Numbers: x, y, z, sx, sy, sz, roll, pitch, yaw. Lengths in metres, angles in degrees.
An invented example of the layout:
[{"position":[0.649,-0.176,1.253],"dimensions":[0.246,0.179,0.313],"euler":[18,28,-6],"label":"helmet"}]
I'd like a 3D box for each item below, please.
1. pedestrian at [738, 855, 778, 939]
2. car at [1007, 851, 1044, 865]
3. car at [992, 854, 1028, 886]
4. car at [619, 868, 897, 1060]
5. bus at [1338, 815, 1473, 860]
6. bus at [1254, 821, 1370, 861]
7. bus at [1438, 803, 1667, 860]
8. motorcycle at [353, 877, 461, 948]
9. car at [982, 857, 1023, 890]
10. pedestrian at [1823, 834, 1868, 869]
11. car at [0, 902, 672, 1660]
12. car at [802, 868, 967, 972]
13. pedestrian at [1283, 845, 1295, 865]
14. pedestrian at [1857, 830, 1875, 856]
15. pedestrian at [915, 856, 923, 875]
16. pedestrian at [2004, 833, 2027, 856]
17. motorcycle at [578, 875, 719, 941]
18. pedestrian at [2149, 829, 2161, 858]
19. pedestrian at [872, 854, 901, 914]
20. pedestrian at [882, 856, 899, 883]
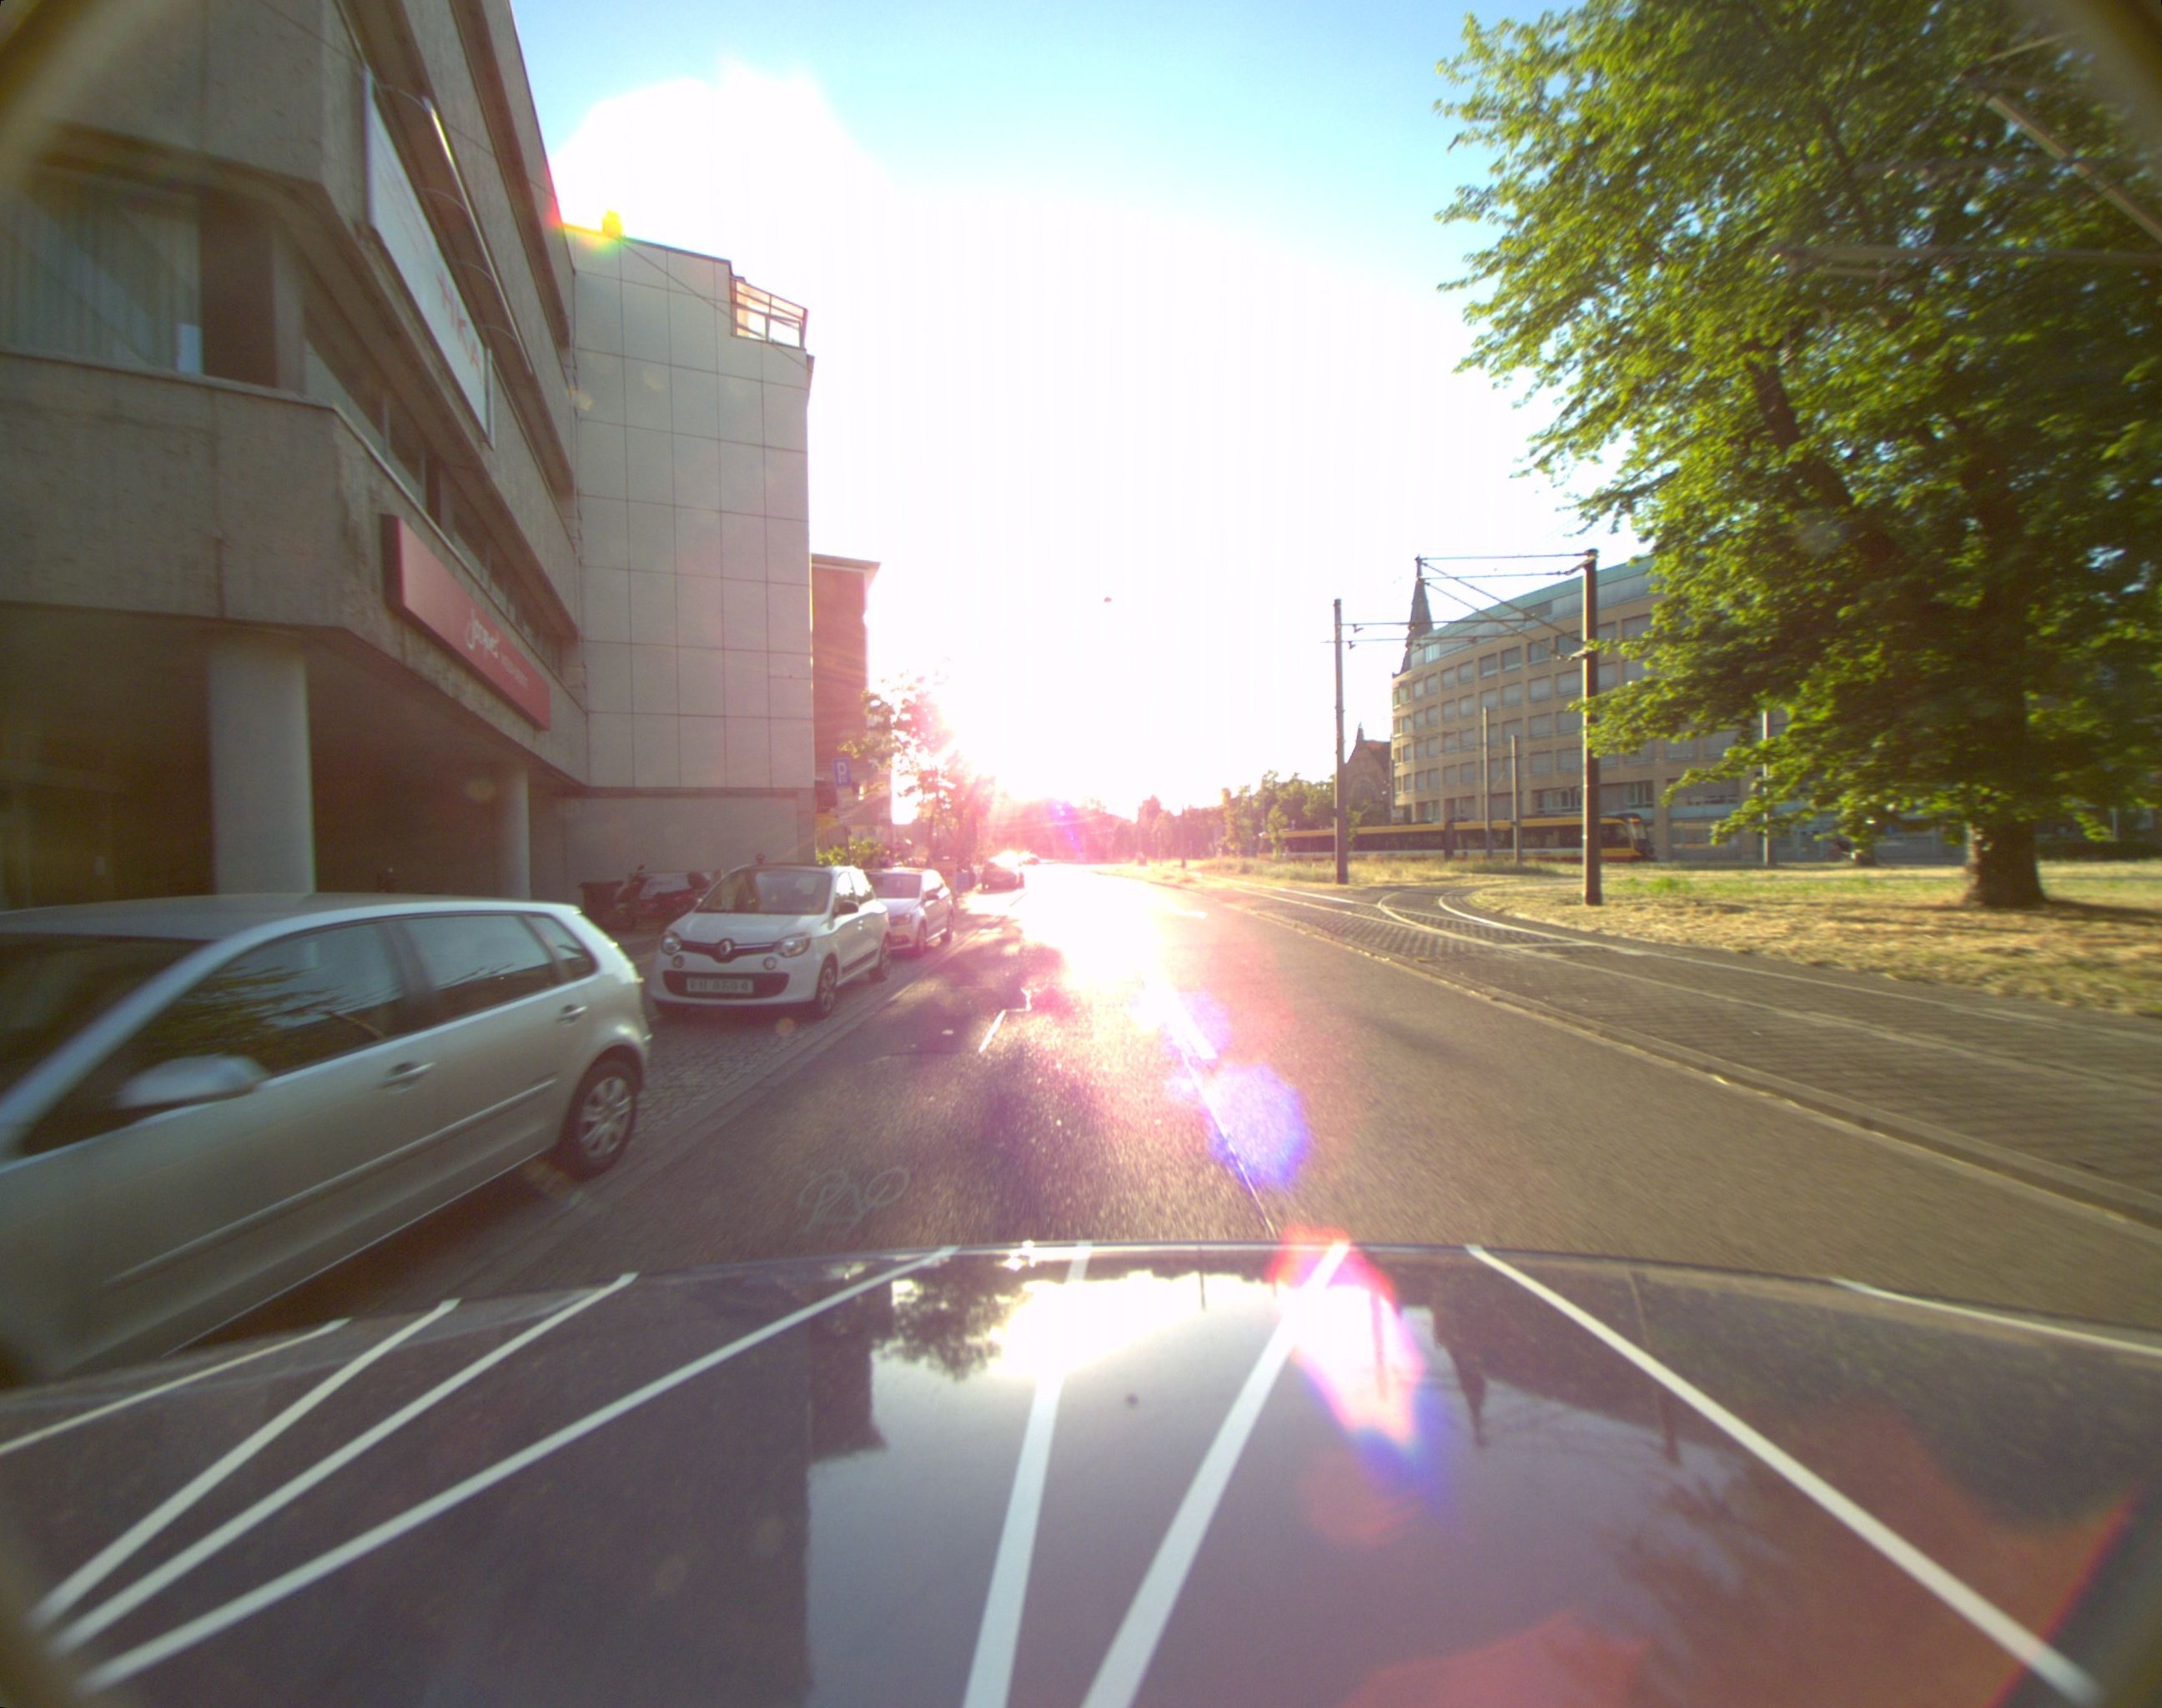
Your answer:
[{"position":[-6.531,0.848,15.373],"dimensions":[0.641,1.618,0.855],"euler":[-3,1,-23],"label":"pedestrian"},{"position":[-6.793,0.445,92.823],"dimensions":[3.993,1.534,2.002],"euler":[-2,1,12],"label":"car"},{"position":[-4.067,0.867,44.069],"dimensions":[1.809,1.660,4.811],"euler":[-3,0,-3],"label":"car"},{"position":[-3.340,1.022,8.658],"dimensions":[1.589,1.581,3.667],"euler":[-3,0,-1],"label":"car"},{"position":[27.147,-1.253,64.471],"dimensions":[3.765,3.312,10.716],"euler":[-3,0,-24],"label":"bus"},{"position":[22.380,-1.169,74.935],"dimensions":[3.765,3.435,12.108],"euler":[-3,0,-25],"label":"bus"},{"position":[32.339,-1.378,53.381],"dimensions":[3.765,3.343,13.685],"euler":[-3,0,-27],"label":"bus"},{"position":[-12.999,1.110,14.666],"dimensions":[1.793,1.285,0.670],"euler":[-1,0,15],"label":"motorcycle"},{"position":[-3.953,0.950,38.831],"dimensions":[1.655,1.525,4.066],"euler":[-2,0,-1],"label":"car"},{"position":[46.961,-0.149,46.680],"dimensions":[1.060,2.082,1.631],"euler":[-3,1,-23],"label":"pedestrian"},{"position":[-3.266,1.078,2.436],"dimensions":[1.645,1.519,4.000],"euler":[-2,0,1],"label":"car"},{"position":[-3.317,1.049,13.677],"dimensions":[1.789,1.448,4.000],"euler":[-1,1,2],"label":"car"},{"position":[15.682,0.078,57.270],"dimensions":[0.672,1.450,0.699],"euler":[-3,1,-4],"label":"pedestrian"},{"position":[51.755,-0.733,50.072],"dimensions":[0.532,1.683,0.617],"euler":[-3,1,-17],"label":"pedestrian"},{"position":[-14.417,1.026,67.479],"dimensions":[0.519,1.683,0.771],"euler":[-3,1,-20],"label":"pedestrian"},{"position":[54.403,-0.541,44.244],"dimensions":[0.568,1.316,0.682],"euler":[-3,1,-23],"label":"pedestrian"},{"position":[-8.454,1.039,14.941],"dimensions":[2.283,1.183,0.704],"euler":[-1,1,-10],"label":"motorcycle"},{"position":[57.342,-0.568,40.389],"dimensions":[0.567,1.530,0.575],"euler":[-3,1,-27],"label":"pedestrian"},{"position":[-5.885,0.891,22.999],"dimensions":[0.641,1.775,0.855],"euler":[-3,1,-23],"label":"pedestrian"},{"position":[-12.685,1.029,50.631],"dimensions":[0.895,1.716,0.772],"euler":[-1,0,-31],"label":"pedestrian"}]
